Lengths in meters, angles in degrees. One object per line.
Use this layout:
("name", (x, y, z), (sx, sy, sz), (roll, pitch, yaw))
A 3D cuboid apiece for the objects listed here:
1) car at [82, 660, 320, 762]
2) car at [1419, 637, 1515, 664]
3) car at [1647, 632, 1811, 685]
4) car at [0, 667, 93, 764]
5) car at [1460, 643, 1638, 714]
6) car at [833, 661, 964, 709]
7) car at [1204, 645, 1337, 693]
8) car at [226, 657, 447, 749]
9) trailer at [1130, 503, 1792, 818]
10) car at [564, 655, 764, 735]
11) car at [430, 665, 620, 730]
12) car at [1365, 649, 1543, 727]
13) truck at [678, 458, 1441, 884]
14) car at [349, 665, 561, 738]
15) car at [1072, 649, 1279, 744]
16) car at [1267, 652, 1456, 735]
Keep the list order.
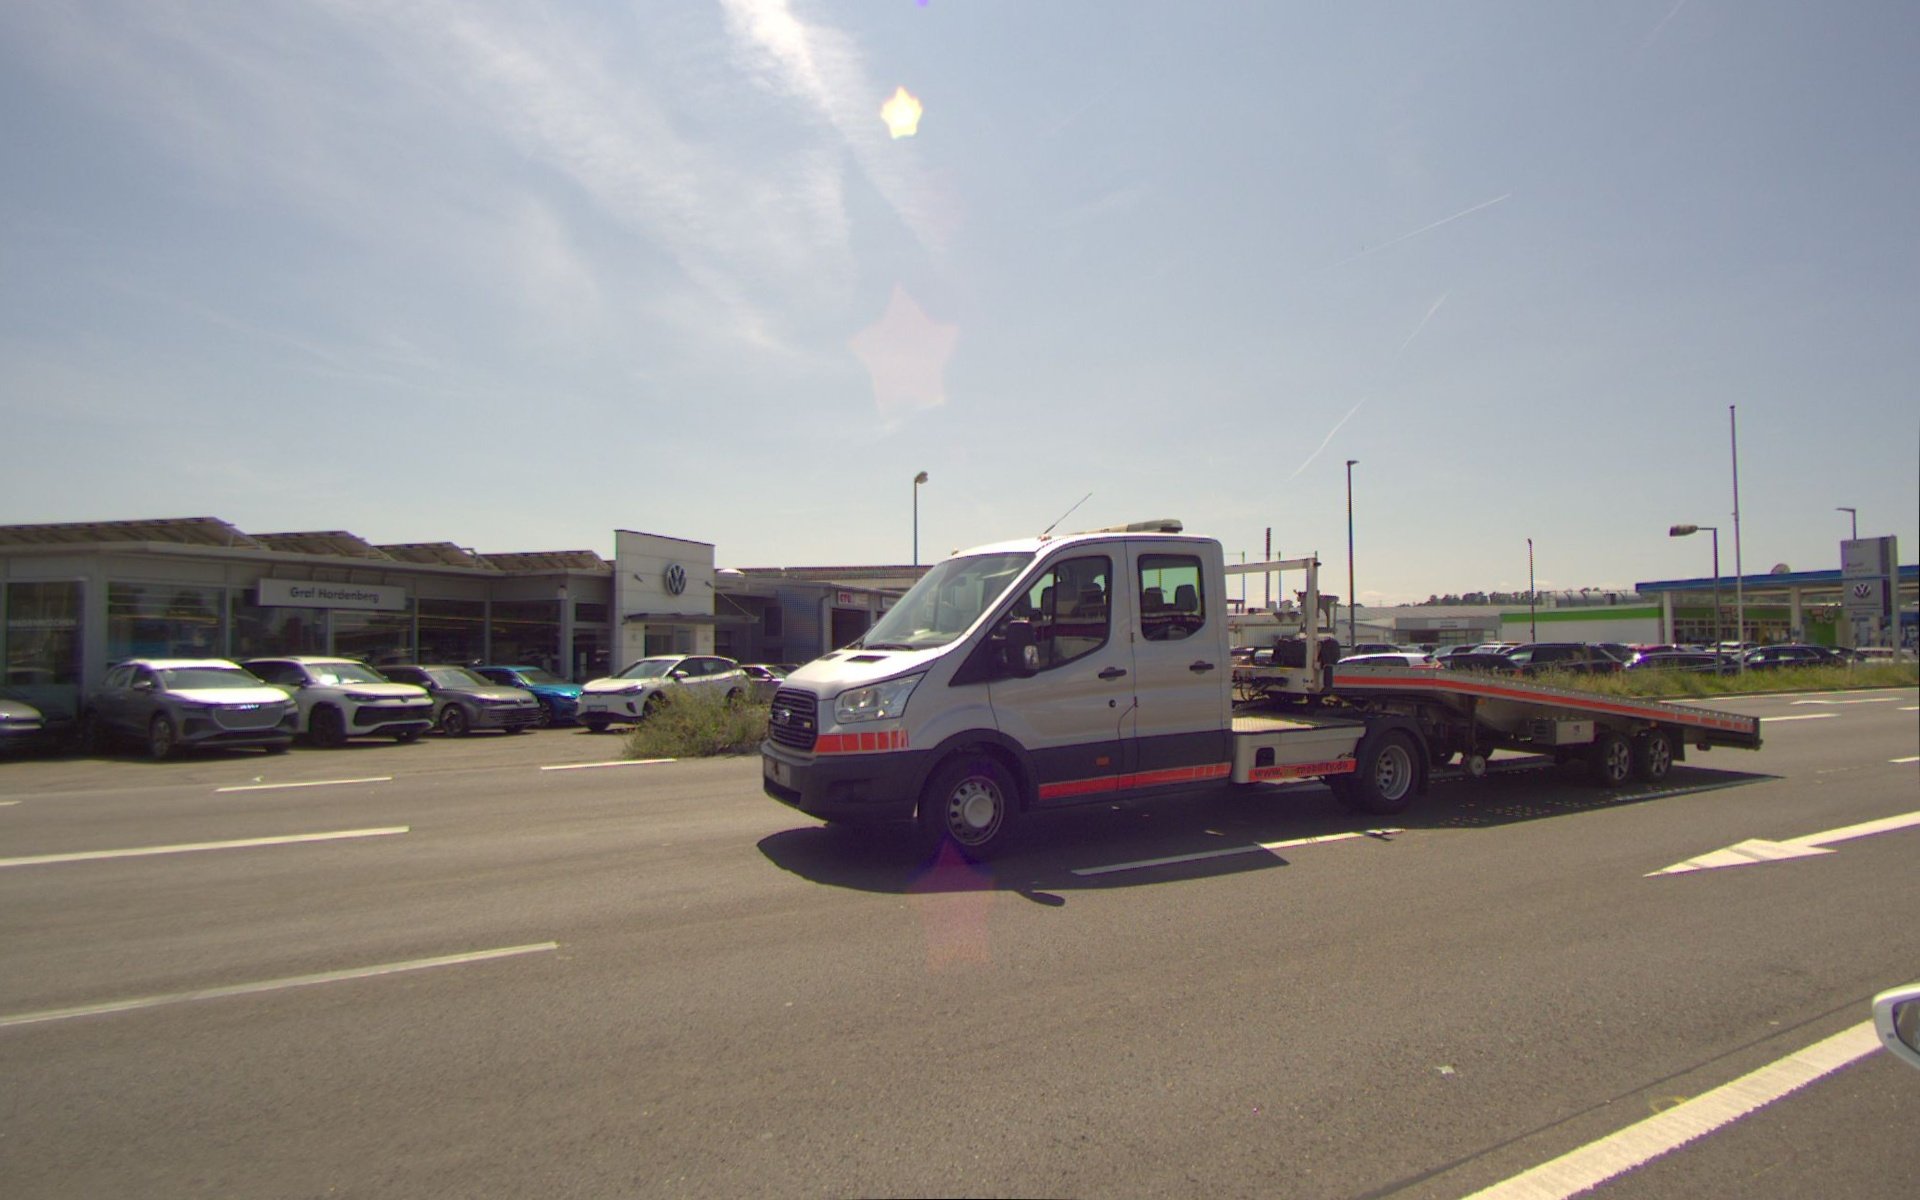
("car", (-13.215, 1.836, 17.464), (4.067, 1.565, 1.820), (-2, -3, 30))
("car", (26.485, 2.646, 52.554), (4.127, 1.326, 1.688), (-3, -4, 45))
("car", (25.120, 1.917, 32.980), (4.116, 1.606, 1.776), (-3, -4, 37))
("car", (-16.968, 1.877, 16.644), (4.020, 1.498, 1.614), (-1, -3, 7))
("car", (15.019, 1.962, 25.788), (3.800, 1.708, 1.797), (-2, -3, 30))
("car", (-1.998, 2.787, 33.261), (3.920, 1.481, 1.901), (-1, -3, 16))
("car", (10.727, 2.342, 34.662), (4.408, 1.483, 1.983), (1, -1, -31))
("car", (-12.016, 1.913, 19.360), (3.926, 1.594, 1.821), (-2, -3, 27))
("trailer", (5.232, 0.600, 10.218), (6.807, 2.368, 2.420), (1, -4, -27))
("car", (-6.566, 2.066, 22.888), (1.788, 1.594, 4.677), (-2, -3, 24))
("car", (-10.434, 2.294, 24.137), (4.091, 1.429, 1.823), (-2, -3, 22))
("car", (12.221, 2.110, 24.901), (3.800, 1.773, 1.797), (-2, -3, 30))
("truck", (0.841, 0.509, 7.963), (5.601, 2.371, 2.417), (1, -4, -27))
("car", (-10.890, 2.127, 21.677), (4.091, 1.429, 1.823), (-2, -3, 22))
("car", (4.434, 1.907, 20.726), (3.800, 1.773, 1.871), (-2, -3, 30))
("car", (9.326, 2.097, 23.395), (3.802, 1.773, 1.796), (-2, -3, 32))
